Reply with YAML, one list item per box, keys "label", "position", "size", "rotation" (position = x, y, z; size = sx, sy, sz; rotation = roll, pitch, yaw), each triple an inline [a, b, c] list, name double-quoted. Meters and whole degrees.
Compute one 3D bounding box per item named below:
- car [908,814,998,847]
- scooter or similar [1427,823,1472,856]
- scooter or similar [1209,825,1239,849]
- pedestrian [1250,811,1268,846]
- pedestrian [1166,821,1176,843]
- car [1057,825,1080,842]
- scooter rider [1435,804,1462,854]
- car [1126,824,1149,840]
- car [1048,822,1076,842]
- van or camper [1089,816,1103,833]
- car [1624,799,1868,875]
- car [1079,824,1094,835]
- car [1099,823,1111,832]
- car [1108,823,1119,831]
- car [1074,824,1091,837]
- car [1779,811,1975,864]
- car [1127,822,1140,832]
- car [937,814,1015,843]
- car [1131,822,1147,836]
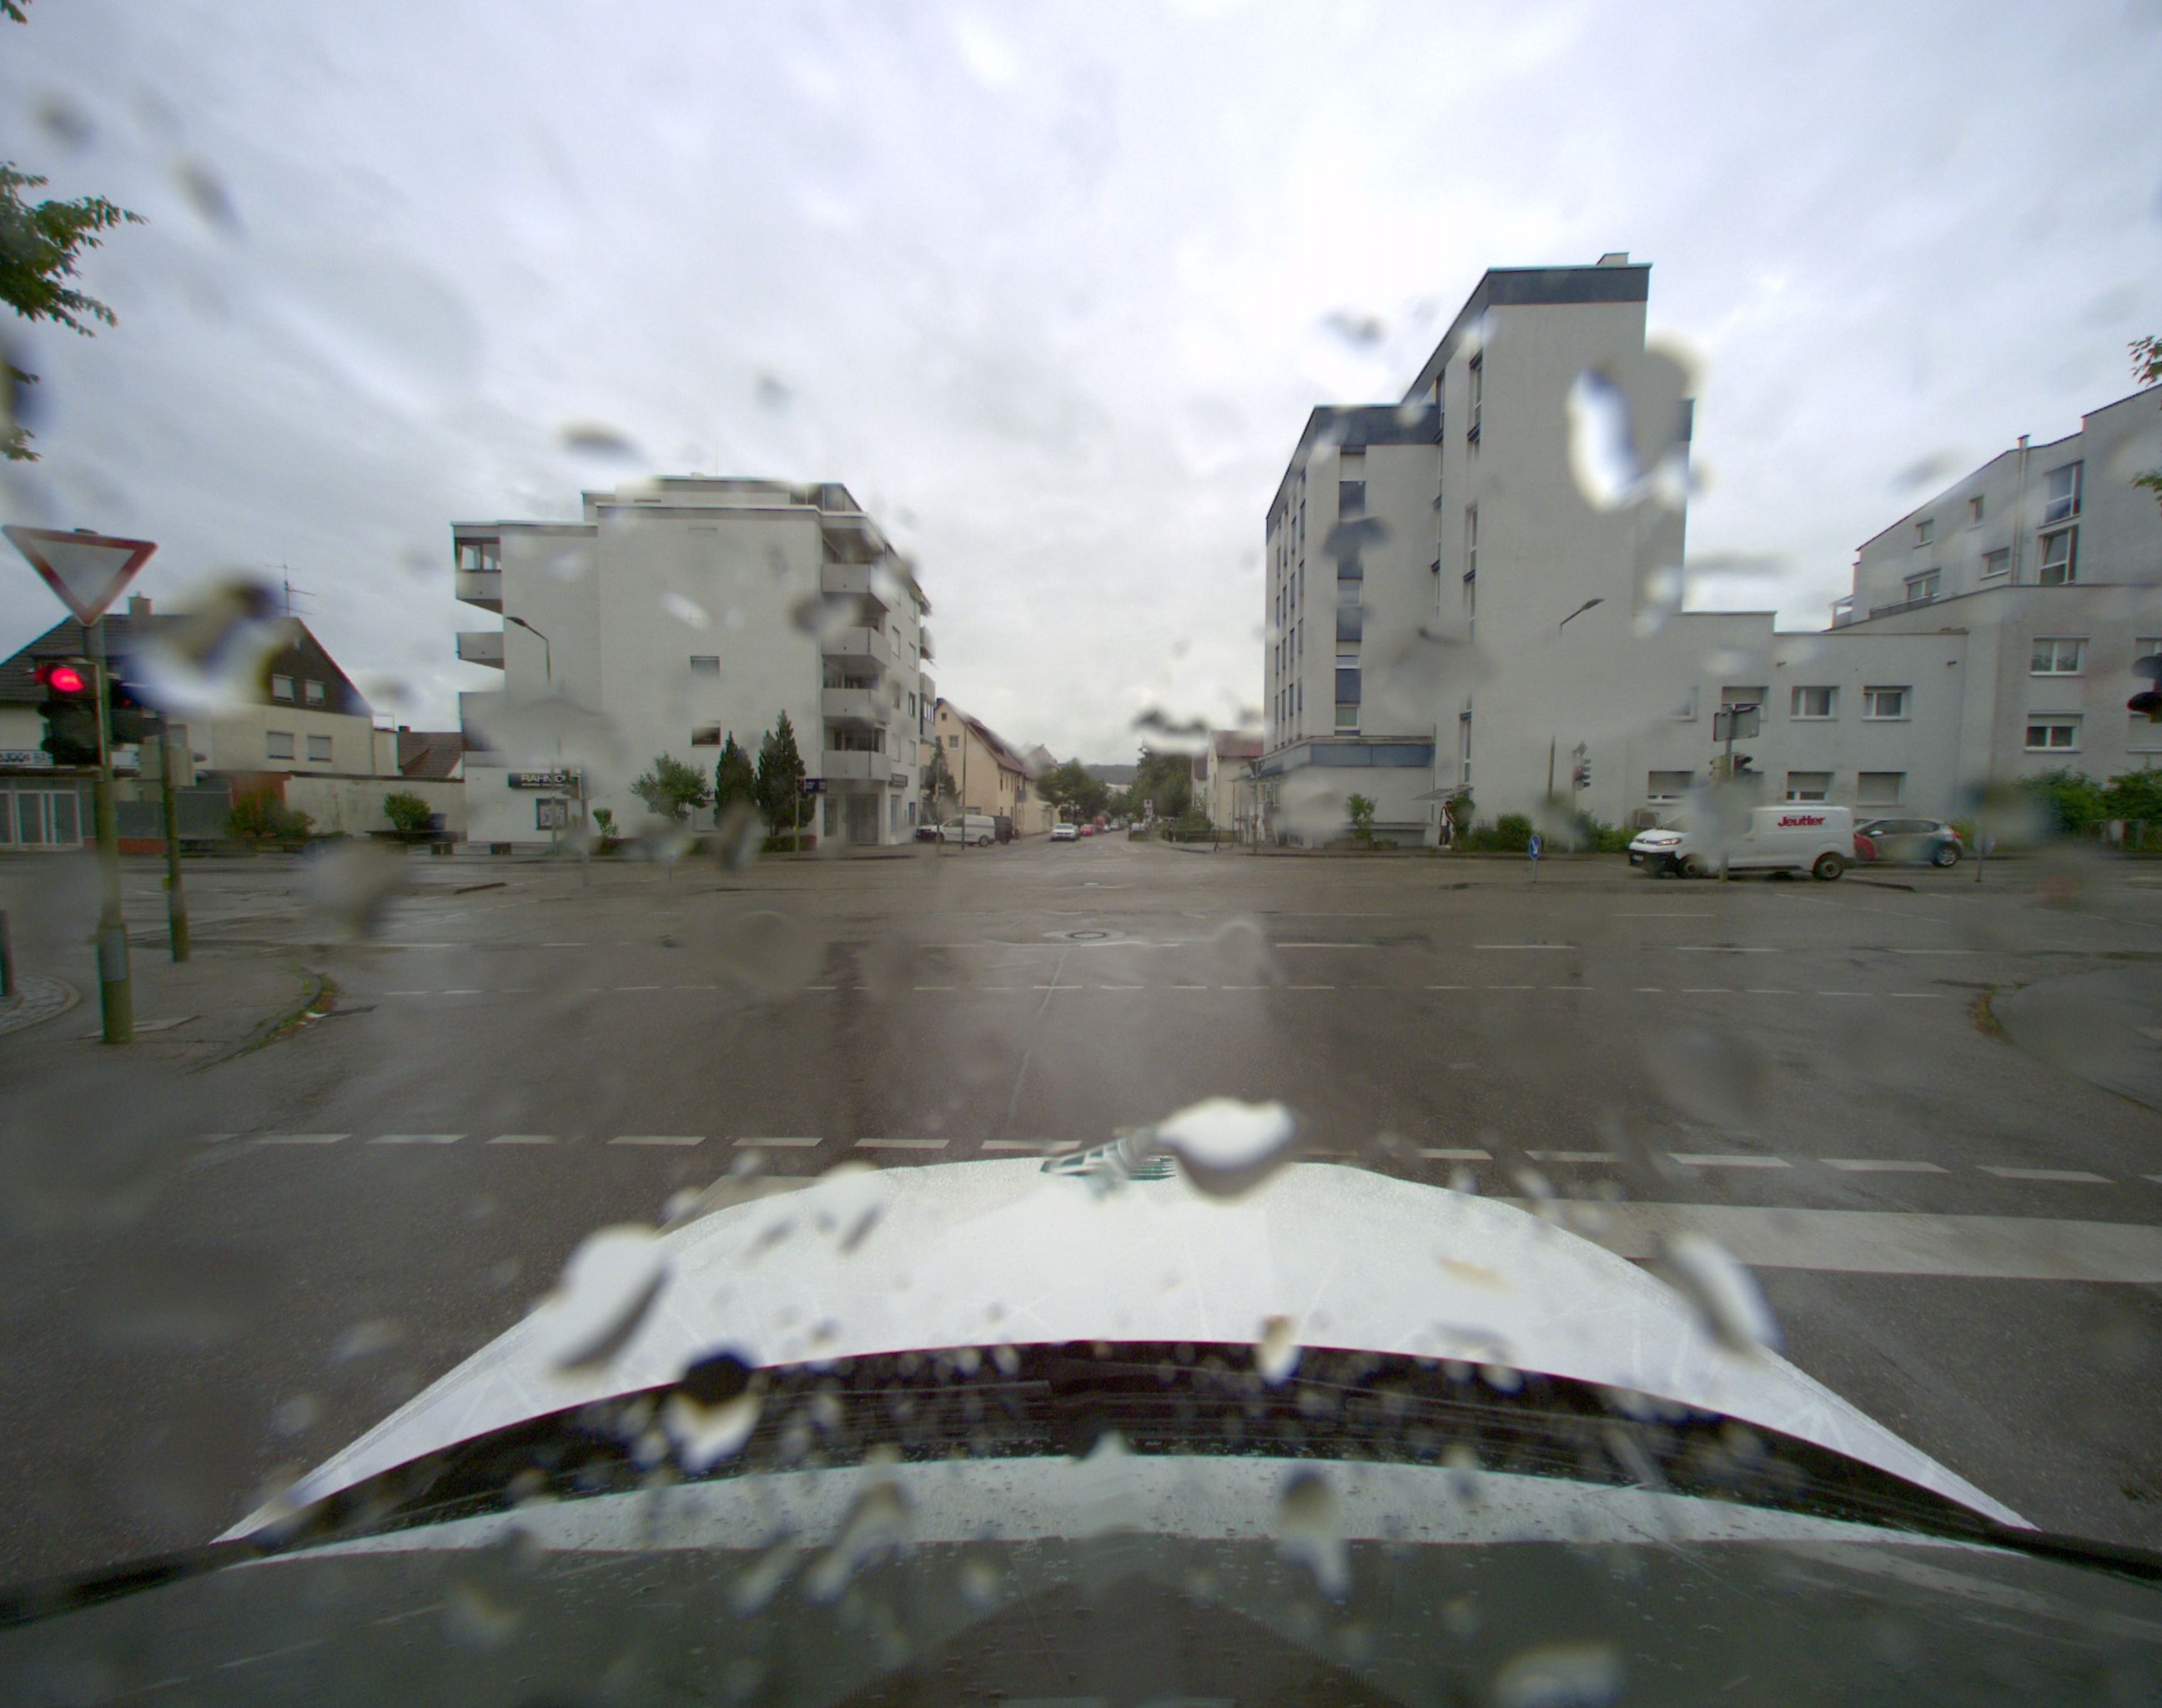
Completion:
- label: "car"
  position: [-7.491, -1.406, 47.884]
  size: [4.866, 1.835, 1.978]
  rotation: [-2, 2, -36]
- label: "scooter or similar"
  position: [13.359, -0.515, 29.566]
  size: [0.764, 1.171, 1.298]
  rotation: [-2, 2, -45]
- label: "scooter or similar"
  position: [6.764, -0.802, 38.598]
  size: [1.265, 1.081, 0.876]
  rotation: [-1, 1, -3]
- label: "pedestrian"
  position: [8.610, -1.211, 39.395]
  size: [0.646, 1.647, 0.525]
  rotation: [3, 1, -4]
- label: "pedestrian"
  position: [7.495, -1.834, 67.950]
  size: [0.742, 1.848, 0.527]
  rotation: [3, 1, 6]
- label: "car"
  position: [-1.163, -2.032, 79.584]
  size: [1.985, 1.625, 4.195]
  rotation: [-1, 2, 3]
- label: "scooter rider"
  position: [13.352, -0.899, 29.585]
  size: [0.759, 1.795, 0.664]
  rotation: [-2, 2, -44]
- label: "car"
  position: [5.641, -2.208, 81.584]
  size: [2.137, 1.589, 4.131]
  rotation: [-1, 2, 3]
- label: "car"
  position: [-1.543, -1.866, 68.180]
  size: [1.985, 1.625, 4.195]
  rotation: [-1, 2, 3]
- label: "van or camper"
  position: [2.342, -4.575, 126.752]
  size: [1.894, 2.513, 4.242]
  rotation: [-1, 1, 3]
- label: "car"
  position: [17.537, -0.430, 21.707]
  size: [4.787, 1.916, 1.831]
  rotation: [0, 0, 8]
- label: "car"
  position: [0.740, -3.387, 113.018]
  size: [1.894, 1.558, 4.195]
  rotation: [-1, 2, 3]
- label: "car"
  position: [4.056, -4.507, 138.775]
  size: [1.894, 1.558, 4.195]
  rotation: [-1, 2, 3]
- label: "car"
  position: [6.156, -5.156, 154.728]
  size: [1.894, 1.558, 4.195]
  rotation: [-1, 2, 3]
- label: "car"
  position: [0.195, -3.017, 104.619]
  size: [1.894, 1.558, 4.195]
  rotation: [-1, 2, 3]
- label: "car"
  position: [23.835, -0.509, 24.528]
  size: [3.966, 1.467, 1.835]
  rotation: [-1, 2, 6]
- label: "car"
  position: [9.711, -4.992, 150.975]
  size: [1.982, 1.683, 4.010]
  rotation: [-1, 2, 8]
- label: "car"
  position: [-7.078, -1.724, 54.933]
  size: [4.866, 1.835, 1.978]
  rotation: [-2, 2, -36]
- label: "car"
  position: [7.362, -3.170, 103.702]
  size: [1.894, 1.745, 4.195]
  rotation: [-1, 2, 3]
